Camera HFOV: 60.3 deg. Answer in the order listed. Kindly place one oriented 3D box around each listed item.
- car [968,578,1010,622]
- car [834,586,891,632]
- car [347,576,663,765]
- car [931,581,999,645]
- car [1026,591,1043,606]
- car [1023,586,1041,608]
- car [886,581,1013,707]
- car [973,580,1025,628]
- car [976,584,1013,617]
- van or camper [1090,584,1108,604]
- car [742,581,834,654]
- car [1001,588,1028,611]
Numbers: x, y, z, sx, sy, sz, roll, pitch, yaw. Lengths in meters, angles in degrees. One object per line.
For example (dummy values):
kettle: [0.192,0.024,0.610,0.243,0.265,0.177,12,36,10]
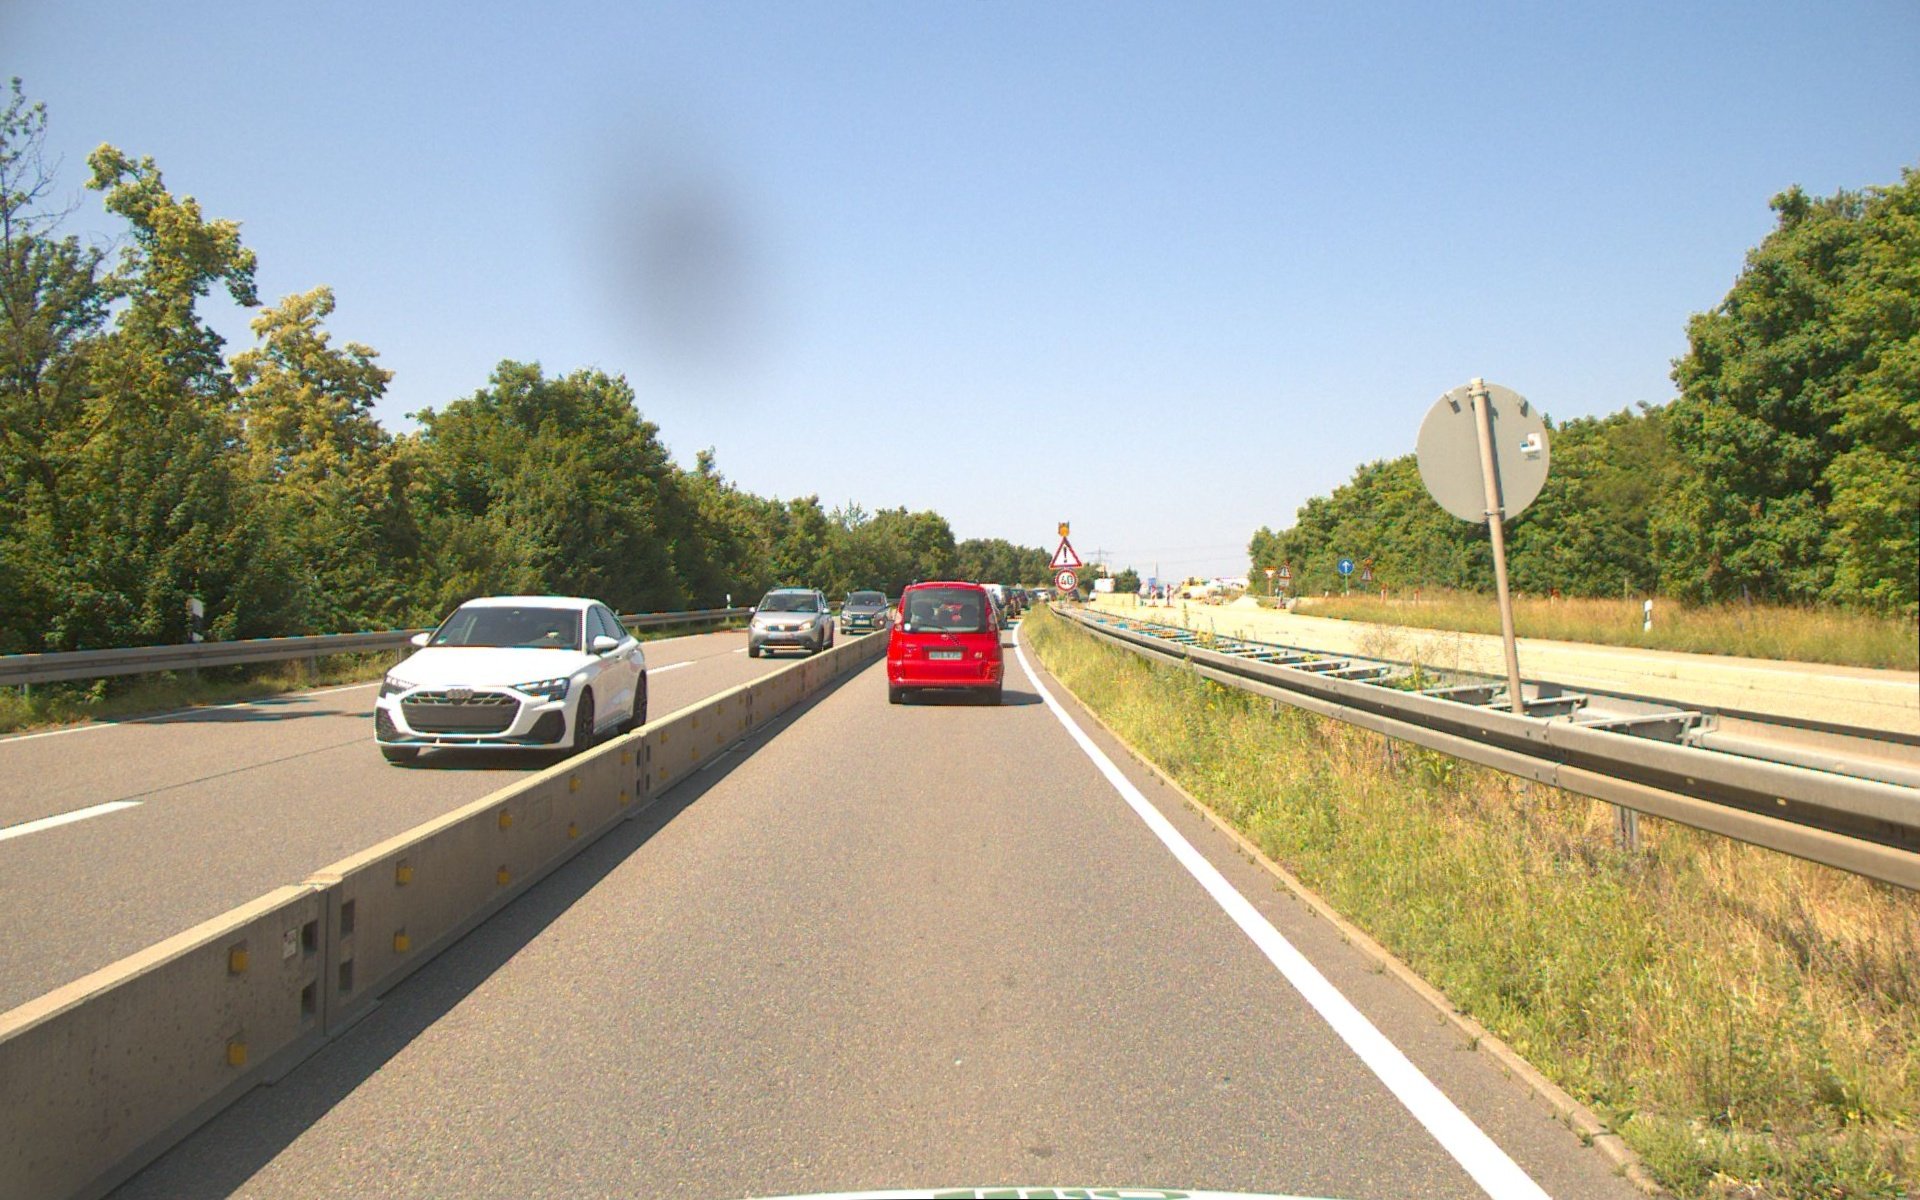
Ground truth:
car: [1.367,0.002,79.742,1.952,2.038,4.000,1,0,0]
car: [-3.452,0.316,59.282,1.909,1.606,4.434,0,0,-2]
car: [-4.198,0.590,16.040,1.909,1.565,4.434,1,0,-1]
car: [0.105,0.348,47.627,1.793,1.752,3.999,-1,0,-2]
car: [6.832,-0.111,150.659,1.391,1.321,2.881,-1,0,5]
car: [5.977,-0.217,136.908,1.470,1.767,3.171,1,0,3]
car: [-0.197,0.584,24.274,1.716,1.702,3.999,0,0,-2]
car: [1.531,0.158,66.848,1.953,1.870,3.999,-1,0,-1]
car: [1.883,0.033,92.227,1.953,1.780,4.000,0,0,0]
van or camper: [19.824,-0.870,236.412,2.280,2.754,4.593,-1,0,1]
car: [-4.023,0.401,39.217,1.791,1.658,3.784,0,0,0]
car: [3.998,-0.027,121.769,1.952,1.613,4.001,0,0,2]
